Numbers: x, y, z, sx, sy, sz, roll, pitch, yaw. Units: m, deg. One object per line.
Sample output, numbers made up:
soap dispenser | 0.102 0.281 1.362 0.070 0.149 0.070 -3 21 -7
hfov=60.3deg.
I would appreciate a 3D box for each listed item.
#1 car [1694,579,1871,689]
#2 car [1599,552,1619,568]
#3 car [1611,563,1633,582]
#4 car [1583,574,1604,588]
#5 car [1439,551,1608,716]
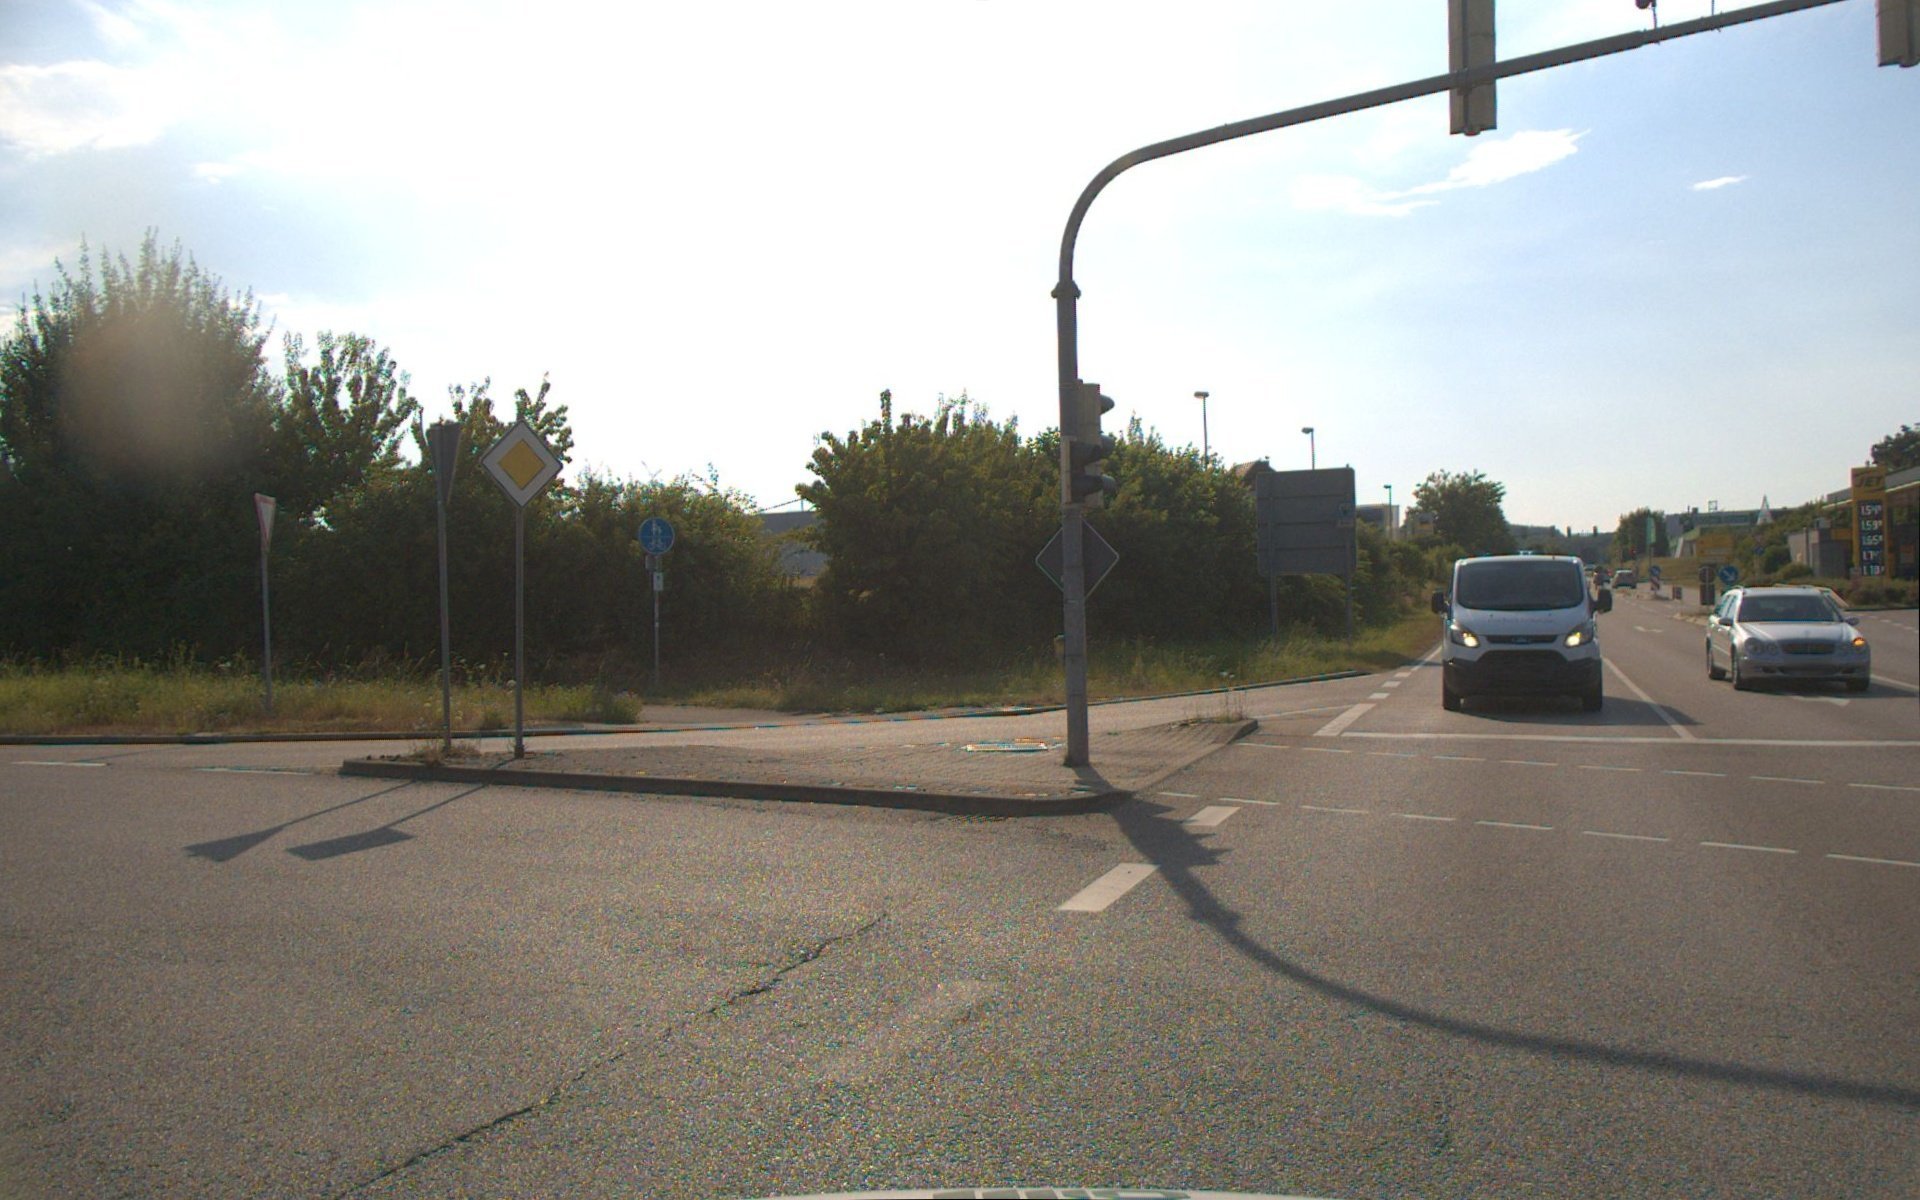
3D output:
car | 12.776 0.497 25.987 1.818 1.540 4.955 0 0 18
car | 85.145 -5.243 216.955 1.951 2.049 4.003 0 0 15
car | 54.172 -2.238 135.441 1.518 1.474 3.051 0 0 19
car | 65.742 -1.974 171.753 1.704 1.376 3.206 0 0 15
car | 7.473 0.338 22.340 1.860 1.981 4.822 0 1 15
